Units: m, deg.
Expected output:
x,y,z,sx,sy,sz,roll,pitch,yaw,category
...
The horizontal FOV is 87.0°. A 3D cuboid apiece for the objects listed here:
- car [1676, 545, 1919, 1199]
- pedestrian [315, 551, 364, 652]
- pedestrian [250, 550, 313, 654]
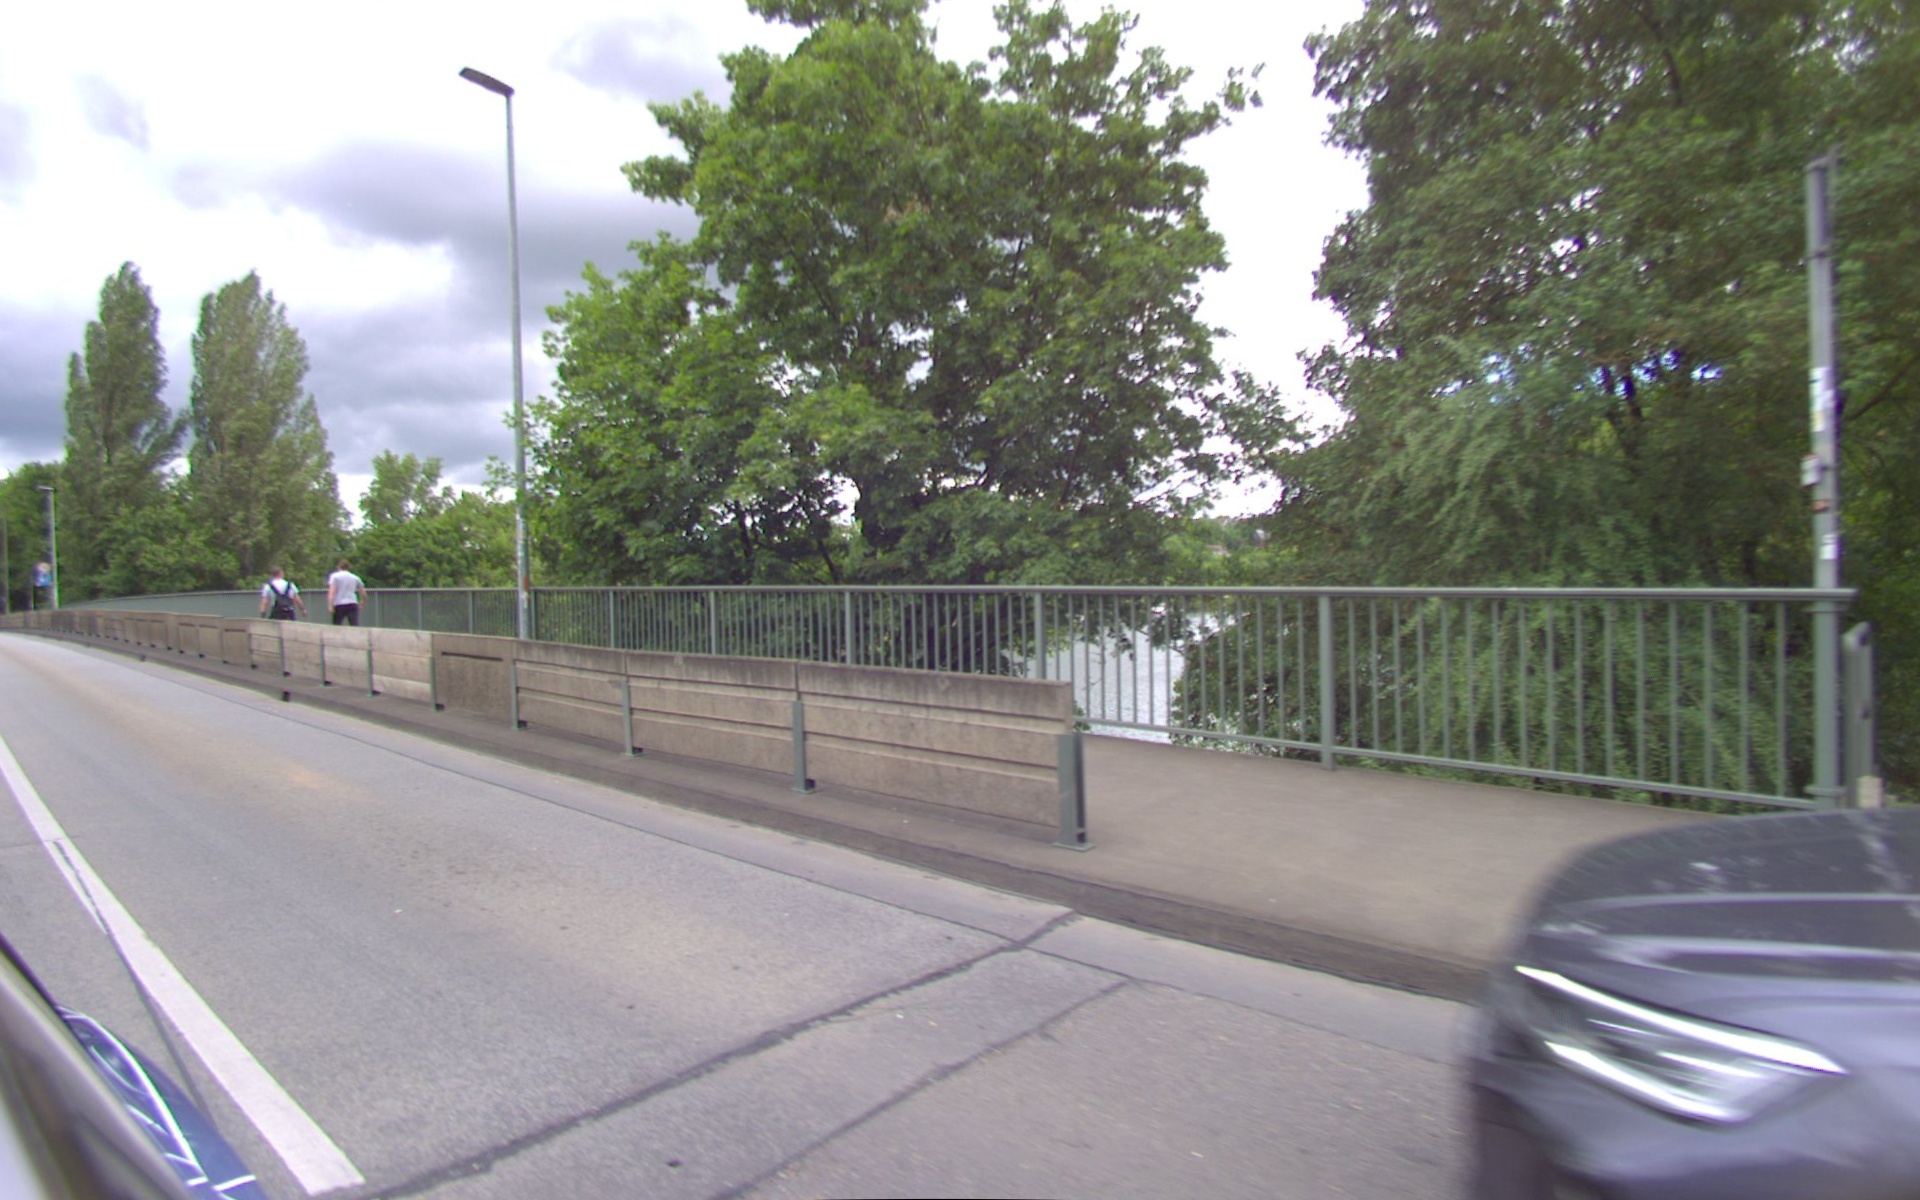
x,y,z,sx,sy,sz,roll,pitch,yaw,category
3.005,0.679,0.836,3.933,1.479,1.701,0,0,36,car
-11.585,0.017,18.899,0.556,1.841,0.598,0,3,45,pedestrian
-12.457,0.021,18.587,0.726,1.841,0.771,0,3,45,pedestrian
